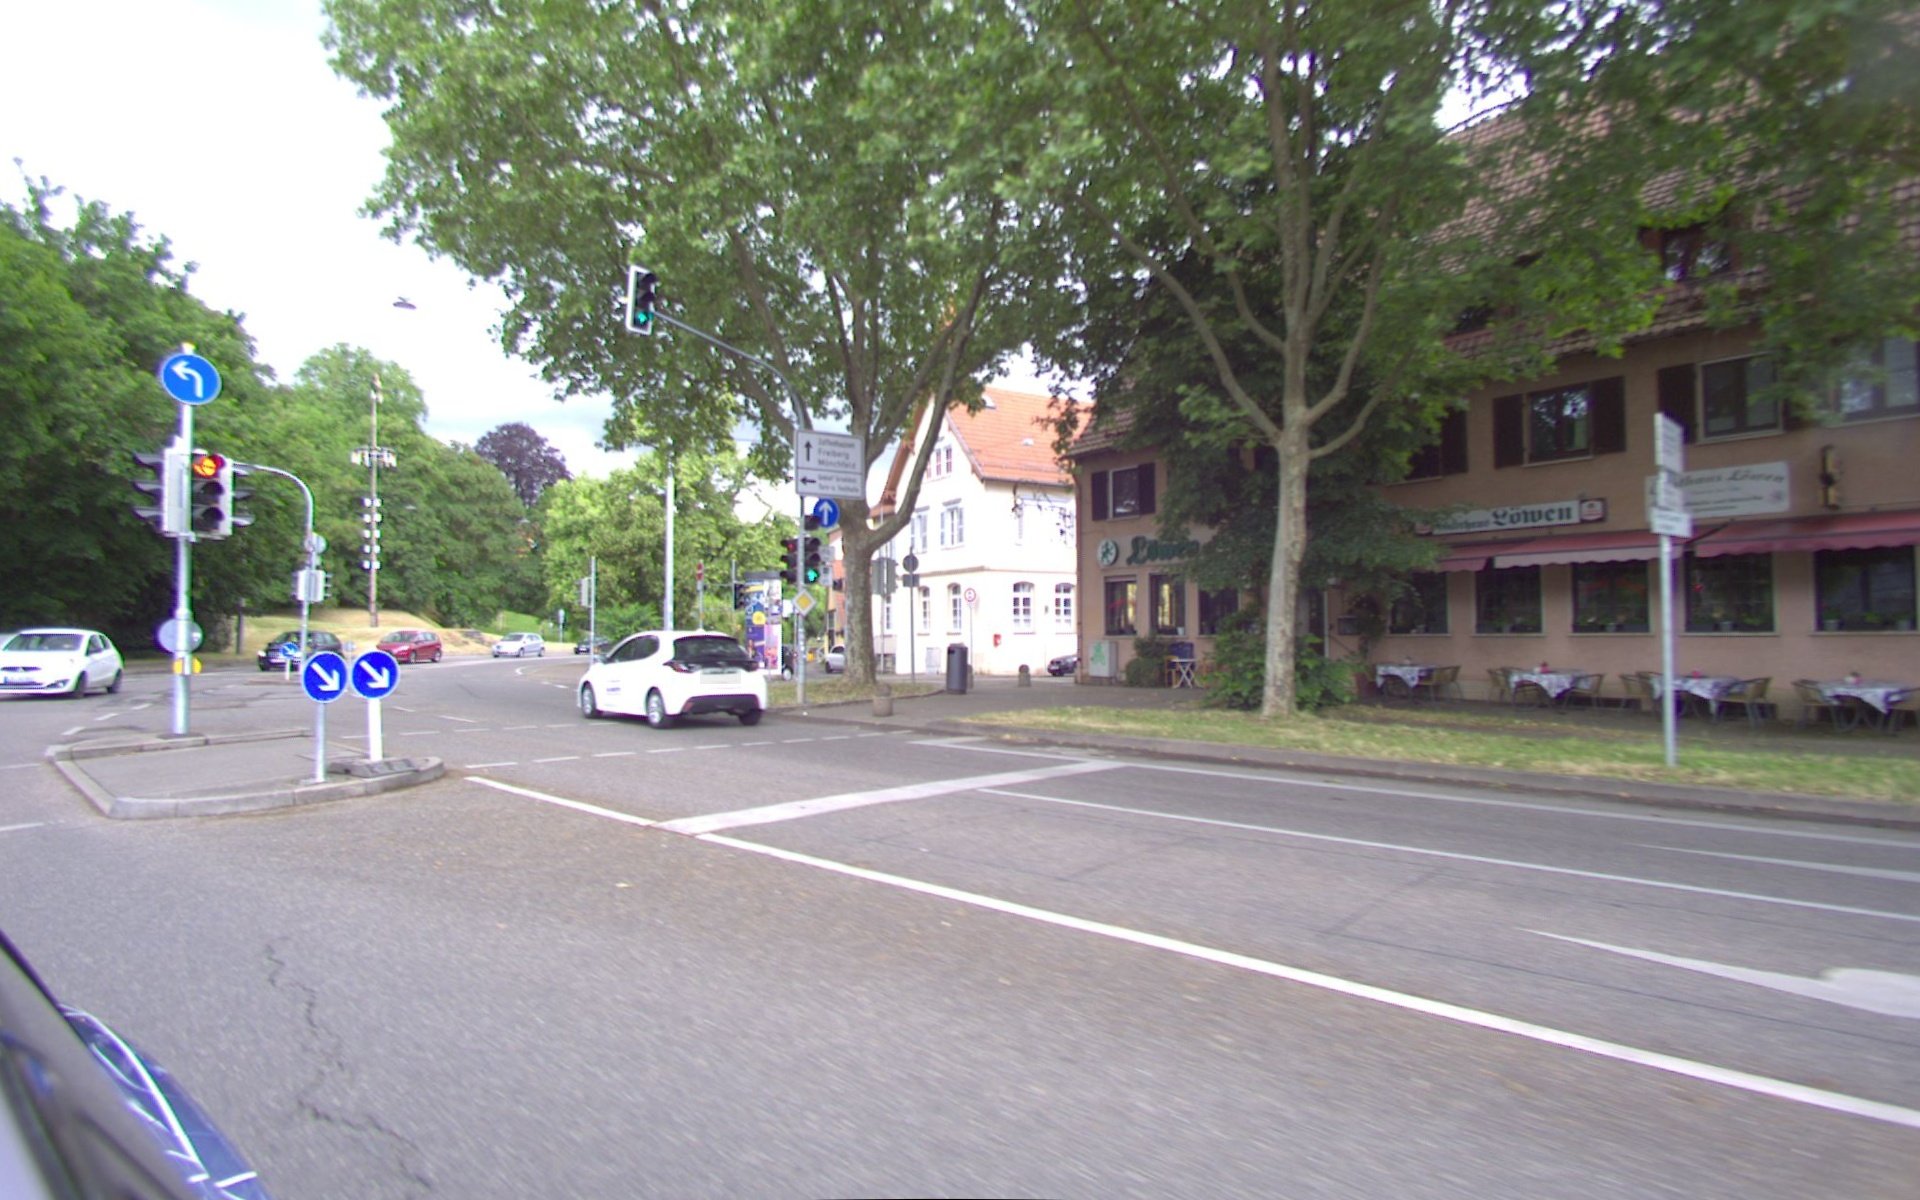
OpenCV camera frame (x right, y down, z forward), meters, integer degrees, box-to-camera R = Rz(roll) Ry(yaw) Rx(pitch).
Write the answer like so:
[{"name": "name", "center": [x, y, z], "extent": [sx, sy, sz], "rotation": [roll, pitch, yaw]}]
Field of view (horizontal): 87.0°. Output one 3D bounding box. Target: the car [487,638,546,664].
[{"name": "car", "center": [-28.217, 3.236, 64.476], "extent": [1.762, 1.581, 3.993], "rotation": [0, -2, 5]}]

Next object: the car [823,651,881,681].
[{"name": "car", "center": [-5.804, 3.532, 54.208], "extent": [1.626, 1.503, 3.490], "rotation": [2, -3, -34]}]

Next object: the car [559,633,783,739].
[{"name": "car", "center": [-4.733, 1.295, 16.264], "extent": [1.742, 1.477, 4.024], "rotation": [4, -4, -44]}]

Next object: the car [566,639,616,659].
[{"name": "car", "center": [-27.509, 3.633, 75.602], "extent": [1.834, 1.469, 3.990], "rotation": [0, -2, 8]}]

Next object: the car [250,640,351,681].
[{"name": "car", "center": [-26.126, 2.375, 40.262], "extent": [1.705, 1.532, 4.005], "rotation": [1, -2, -6]}]

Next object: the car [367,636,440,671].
[{"name": "car", "center": [-27.806, 2.662, 50.686], "extent": [1.651, 1.654, 4.104], "rotation": [0, -2, -5]}]

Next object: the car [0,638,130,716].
[{"name": "car", "center": [-19.535, 1.596, 21.843], "extent": [1.601, 1.520, 4.013], "rotation": [1, -2, -26]}]
